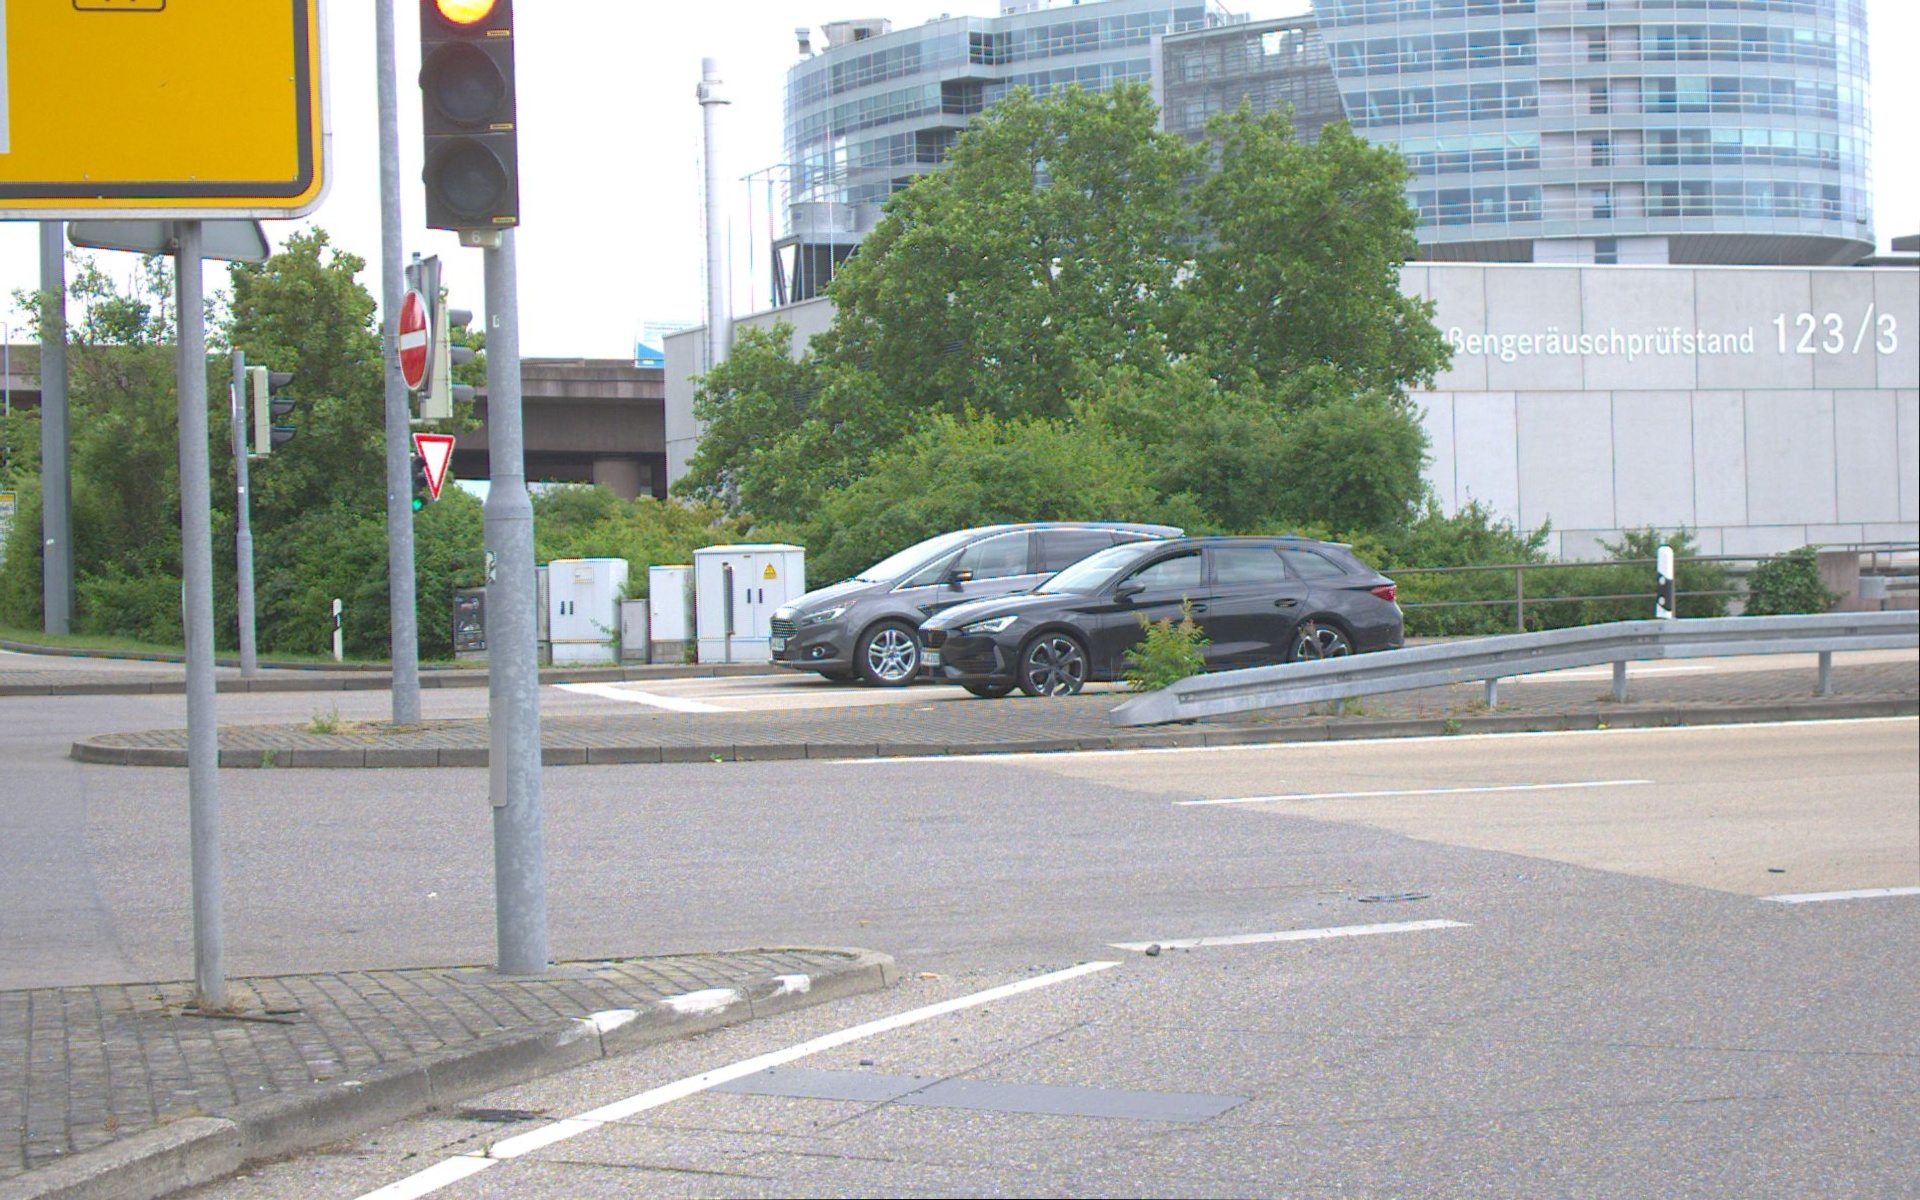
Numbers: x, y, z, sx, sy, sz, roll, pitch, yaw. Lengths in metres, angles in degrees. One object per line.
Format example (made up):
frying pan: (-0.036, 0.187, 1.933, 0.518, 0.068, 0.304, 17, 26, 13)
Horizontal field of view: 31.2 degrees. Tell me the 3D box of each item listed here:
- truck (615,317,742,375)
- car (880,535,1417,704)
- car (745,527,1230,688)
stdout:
truck: (-11.914, -10.734, 145.527, 5.061, 2.314, 2.000, 1, 1, 5)
car: (1.746, 0.143, 32.086, 4.604, 1.452, 1.956, -1, 2, -21)
car: (0.273, 0.039, 35.875, 4.677, 1.566, 1.956, 0, 2, -19)
